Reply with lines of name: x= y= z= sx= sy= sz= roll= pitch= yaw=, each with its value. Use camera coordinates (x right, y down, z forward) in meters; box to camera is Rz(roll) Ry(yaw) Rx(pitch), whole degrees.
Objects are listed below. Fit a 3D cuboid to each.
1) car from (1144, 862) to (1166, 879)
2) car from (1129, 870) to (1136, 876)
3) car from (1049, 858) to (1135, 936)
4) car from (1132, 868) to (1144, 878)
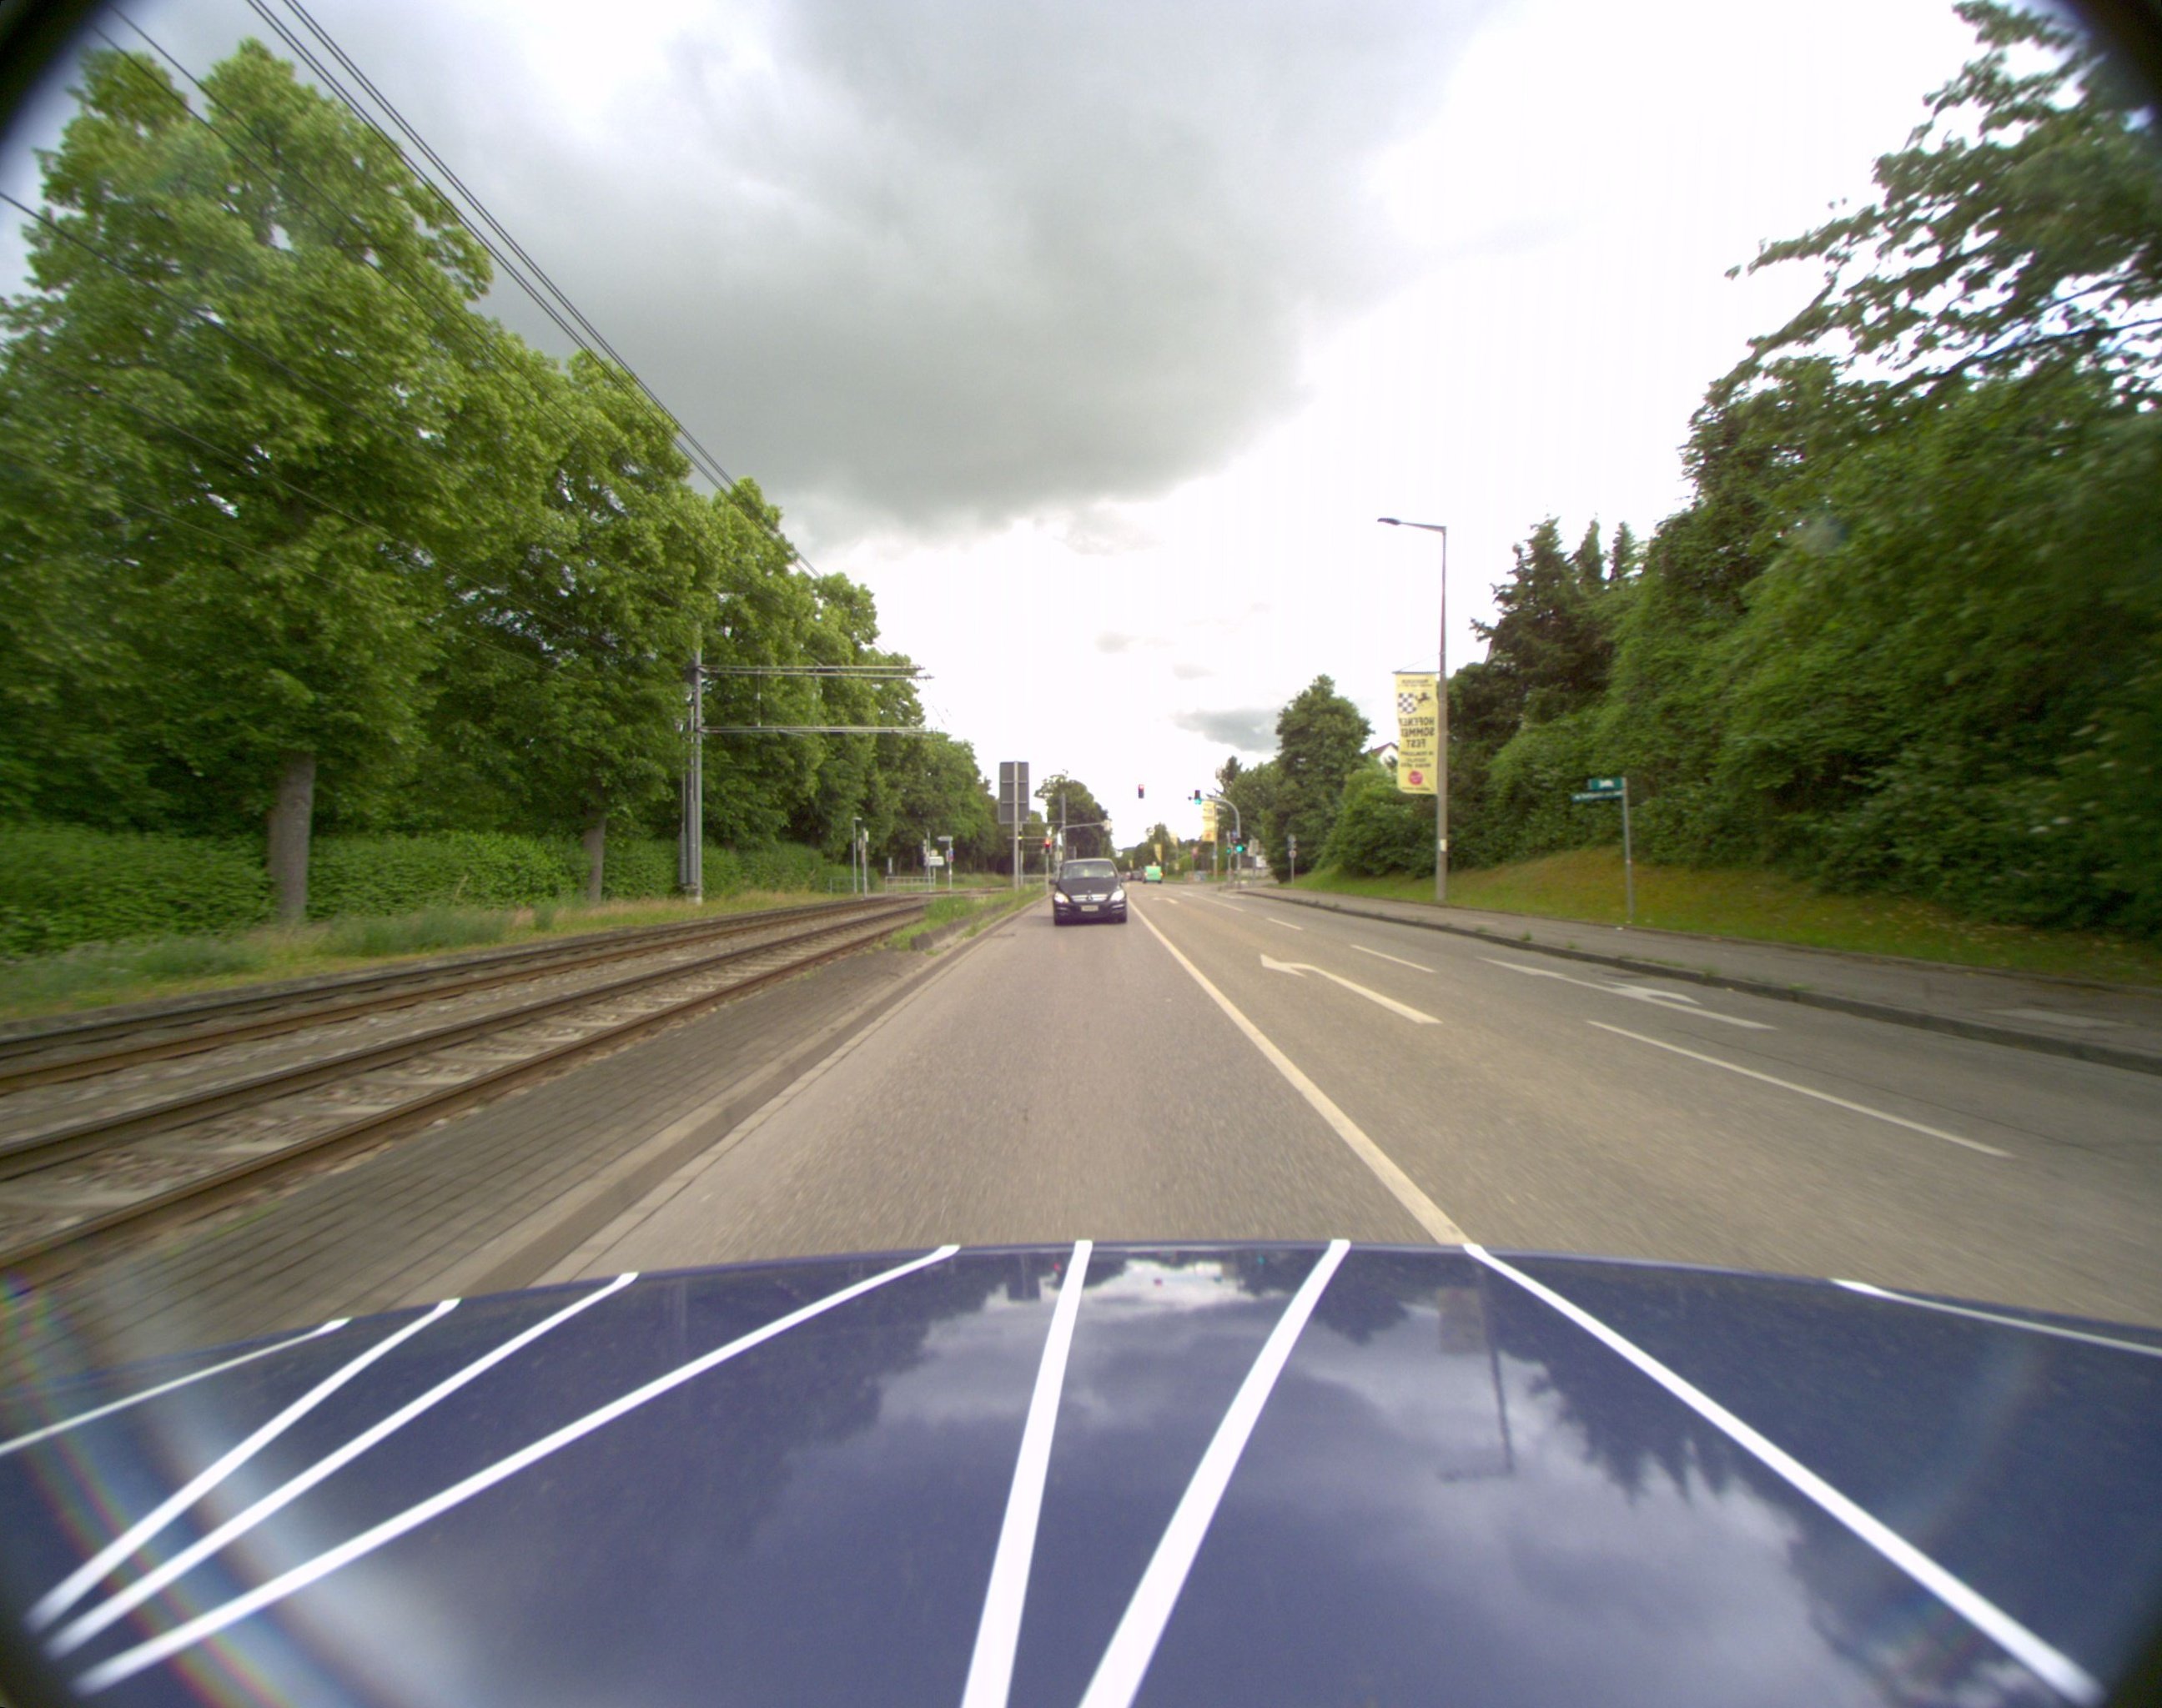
car: x=7.945 y=1.774 z=81.991 sx=2.063 sy=1.799 sz=4.730 roll=1 pitch=-1 yaw=1
car: x=14.310 y=5.360 z=212.527 sx=1.903 sy=1.569 sz=4.123 roll=0 pitch=-1 yaw=2
car: x=0.265 y=0.941 z=18.299 sx=1.749 sy=1.558 sz=4.122 roll=-3 pitch=0 yaw=1
car: x=9.631 y=3.251 z=128.703 sx=1.903 sy=1.569 sz=4.280 roll=0 pitch=-1 yaw=2
